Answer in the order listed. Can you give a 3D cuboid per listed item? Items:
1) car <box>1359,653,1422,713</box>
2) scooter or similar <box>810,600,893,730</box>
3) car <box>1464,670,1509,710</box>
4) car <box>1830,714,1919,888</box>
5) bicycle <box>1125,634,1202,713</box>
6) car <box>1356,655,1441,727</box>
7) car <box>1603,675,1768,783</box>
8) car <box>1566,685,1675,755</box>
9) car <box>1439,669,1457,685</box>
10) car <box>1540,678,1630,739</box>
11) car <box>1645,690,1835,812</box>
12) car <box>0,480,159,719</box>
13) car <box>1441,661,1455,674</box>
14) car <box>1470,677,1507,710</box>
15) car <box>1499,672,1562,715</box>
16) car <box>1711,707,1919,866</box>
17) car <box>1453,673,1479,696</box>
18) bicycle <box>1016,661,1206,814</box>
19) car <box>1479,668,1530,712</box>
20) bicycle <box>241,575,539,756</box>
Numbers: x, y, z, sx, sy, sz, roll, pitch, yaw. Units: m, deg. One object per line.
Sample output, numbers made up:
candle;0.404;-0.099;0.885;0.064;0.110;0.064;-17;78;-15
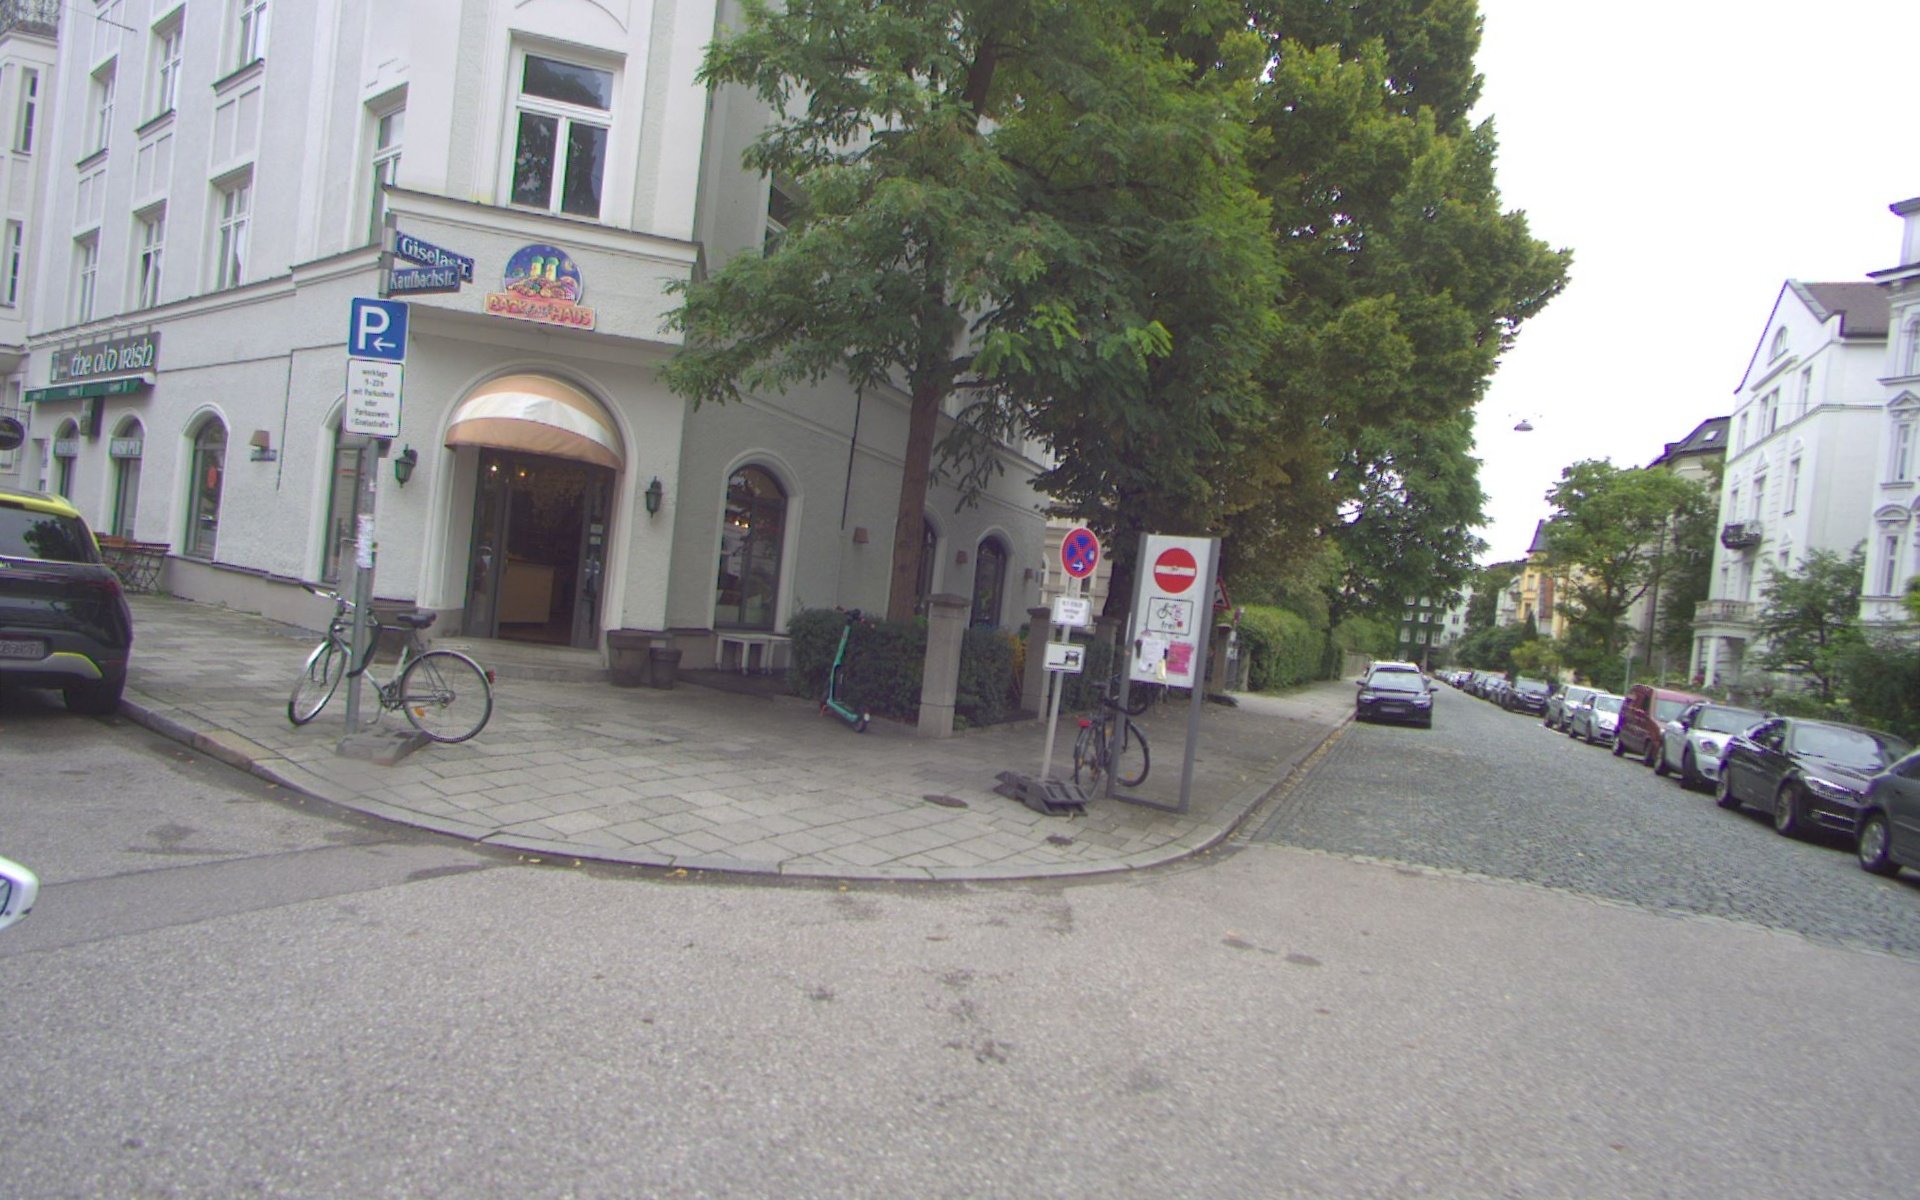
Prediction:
car;13.993;2.637;32.605;1.607;1.638;3.996;7;0;25
scooter or similar;-1.205;0.684;11.017;0.395;1.286;1.173;6;1;-26
car;32.214;5.481;61.625;1.964;2.038;3.997;7;0;24
car;9.605;2.015;8.572;1.858;1.504;4.144;10;1;22
bicycle;4.180;1.435;20.328;0.947;1.326;3.777;7;0;18
car;11.928;2.404;27.285;1.824;1.635;3.997;5;-1;25
car;16.201;2.807;22.706;1.744;1.805;3.794;10;1;19
car;18.654;3.339;28.601;1.704;1.426;3.998;10;1;23
car;71.151;11.193;146.772;1.964;2.038;3.997;7;0;24
car;21.133;3.614;34.180;1.802;1.537;3.998;10;1;23
car;13.819;2.581;18.084;1.737;1.557;3.995;9;1;27
car;-8.359;-0.206;8.037;4.029;1.637;1.839;7;-2;35
car;89.513;12.323;184.408;1.964;2.038;3.997;7;0;24
car;39.300;6.913;74.834;1.964;2.038;3.997;7;0;24
car;27.023;4.402;47.768;1.964;1.537;3.998;10;1;23
car;11.564;2.364;13.193;1.763;1.407;4.166;11;2;26
car;51.795;8.596;103.006;1.964;2.038;3.997;7;0;24
bicycle;1.413;1.192;9.037;0.676;1.144;2.004;7;0;38
car;29.675;4.877;54.933;1.964;2.038;3.997;7;0;24
bicycle;-4.235;0.465;7.545;1.712;1.078;0.819;7;1;8
